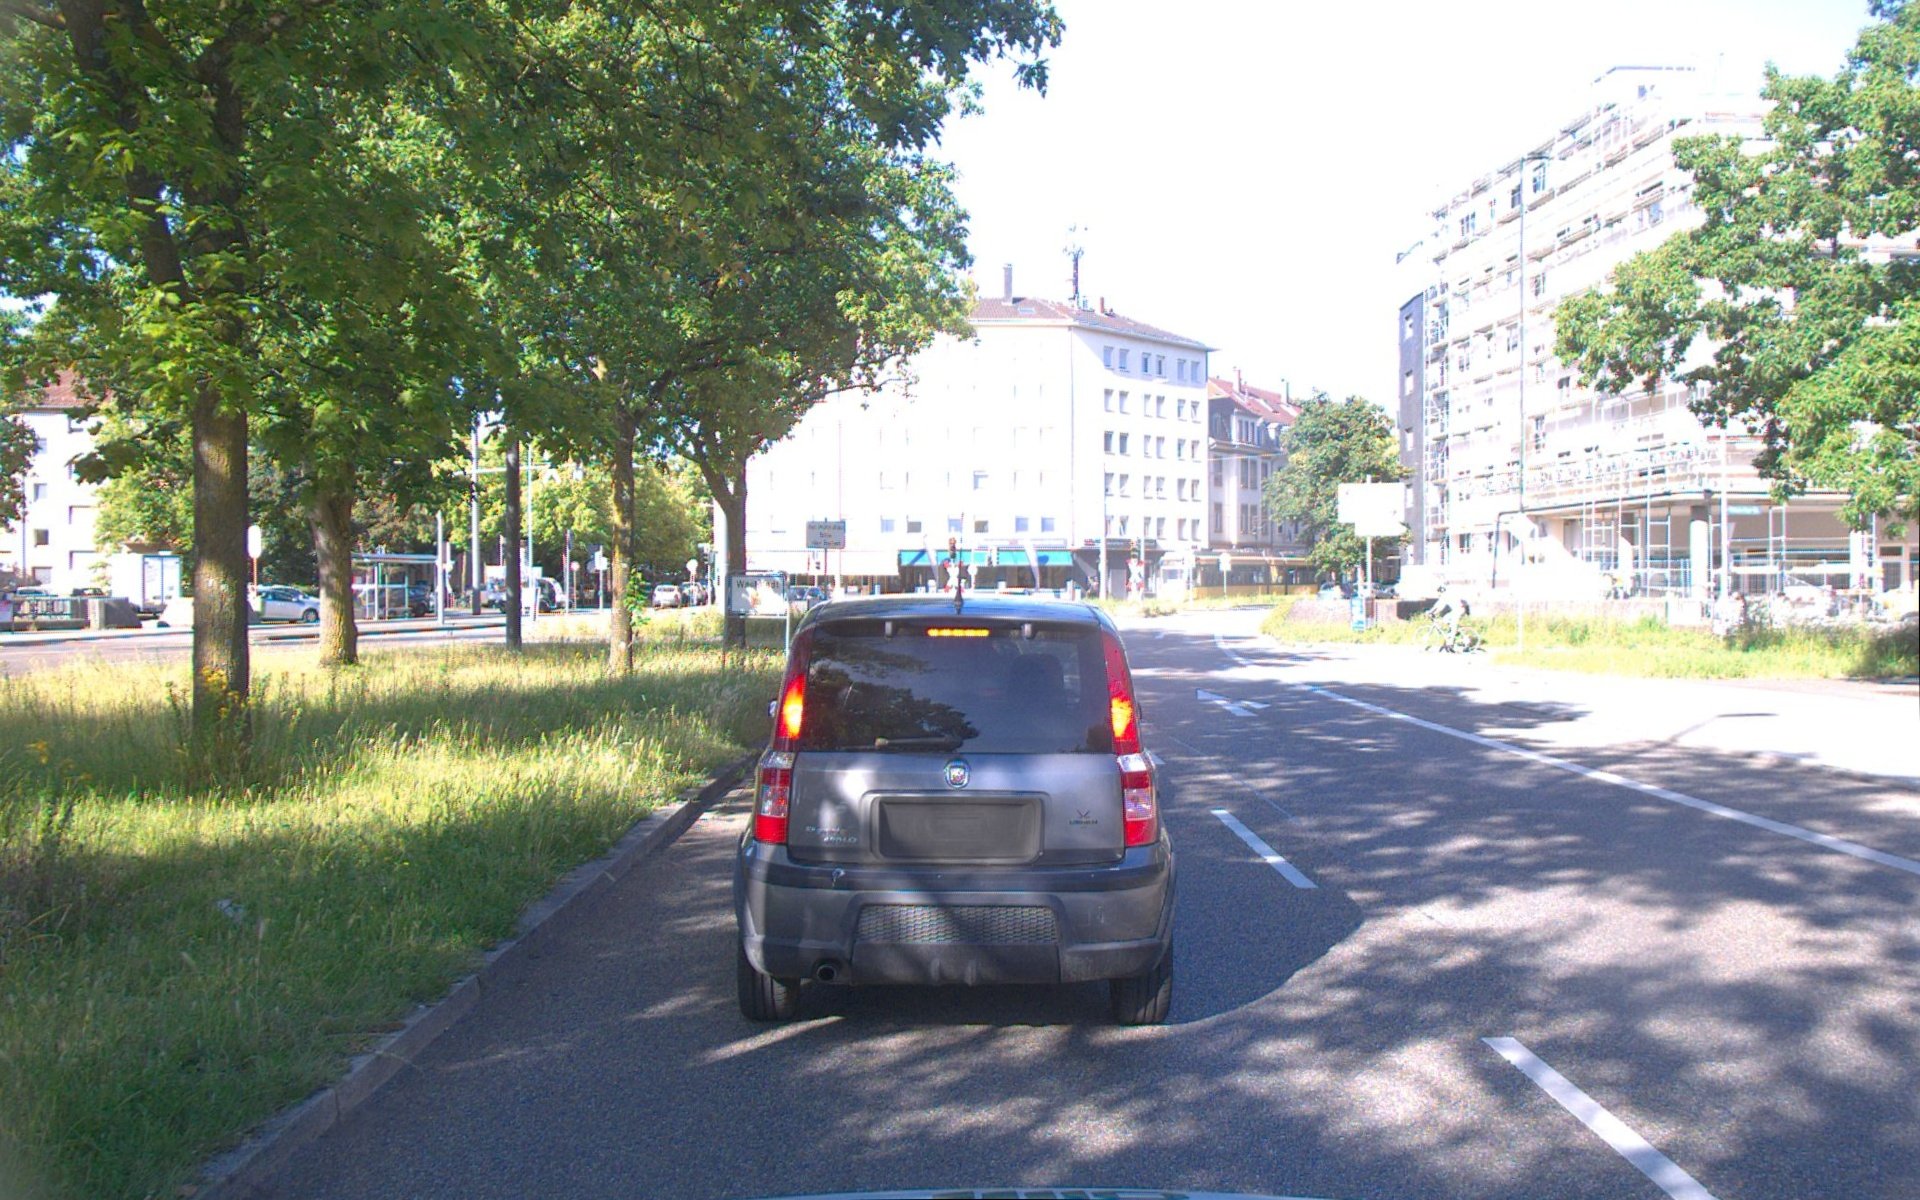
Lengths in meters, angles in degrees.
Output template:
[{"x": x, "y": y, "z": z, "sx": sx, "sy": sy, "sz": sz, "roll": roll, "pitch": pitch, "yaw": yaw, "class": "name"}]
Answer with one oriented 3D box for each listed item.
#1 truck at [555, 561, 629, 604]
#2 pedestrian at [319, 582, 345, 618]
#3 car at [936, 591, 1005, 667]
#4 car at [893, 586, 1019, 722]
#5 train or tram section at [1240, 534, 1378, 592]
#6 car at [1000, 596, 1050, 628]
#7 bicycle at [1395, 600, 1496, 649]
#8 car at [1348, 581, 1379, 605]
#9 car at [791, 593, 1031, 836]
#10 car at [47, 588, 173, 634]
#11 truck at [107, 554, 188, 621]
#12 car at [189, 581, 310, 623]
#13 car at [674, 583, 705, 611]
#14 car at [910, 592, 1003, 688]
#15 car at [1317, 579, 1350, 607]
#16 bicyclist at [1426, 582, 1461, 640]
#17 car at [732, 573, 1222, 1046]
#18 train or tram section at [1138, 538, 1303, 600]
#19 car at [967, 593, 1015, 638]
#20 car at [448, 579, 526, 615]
[{"x": -28.359, "y": -1.357, "z": 127.364, "sx": 5.371, "sy": 3.224, "sz": 2.341, "roll": 0, "pitch": 0, "yaw": 28, "class": "truck"}, {"x": -29.305, "y": -0.004, "z": 77.197, "sx": 0.904, "sy": 1.636, "sz": 0.794, "roll": 0, "pitch": 0, "yaw": 38, "class": "pedestrian"}, {"x": 0.177, "y": 0.555, "z": 33.857, "sx": 1.328, "sy": 1.475, "sz": 3.265, "roll": 0, "pitch": 0, "yaw": -1, "class": "car"}, {"x": -0.073, "y": 0.603, "z": 20.669, "sx": 1.434, "sy": 1.534, "sz": 3.504, "roll": 0, "pitch": 1, "yaw": -1, "class": "car"}, {"x": 25.415, "y": -2.565, "z": 118.808, "sx": 3.235, "sy": 3.836, "sz": 20.765, "roll": 0, "pitch": 1, "yaw": 31, "class": "train or tram section"}, {"x": 2.284, "y": 0.400, "z": 57.699, "sx": 1.118, "sy": 1.083, "sz": 2.723, "roll": 0, "pitch": 1, "yaw": 17, "class": "car"}, {"x": 12.537, "y": 0.624, "z": 42.699, "sx": 2.459, "sy": 1.219, "sz": 0.711, "roll": 1, "pitch": 0, "yaw": 19, "class": "bicycle"}, {"x": 23.009, "y": -0.398, "z": 94.239, "sx": 1.495, "sy": 1.337, "sz": 3.289, "roll": 0, "pitch": 1, "yaw": 17, "class": "car"}, {"x": -0.319, "y": 0.681, "z": 11.625, "sx": 1.434, "sy": 1.425, "sz": 3.393, "roll": 0, "pitch": 1, "yaw": -1, "class": "car"}, {"x": -33.575, "y": 0.415, "z": 65.401, "sx": 1.961, "sy": 1.713, "sz": 3.983, "roll": 0, "pitch": 1, "yaw": 38, "class": "car"}, {"x": -35.744, "y": -0.553, "z": 72.686, "sx": 3.932, "sy": 2.854, "sz": 1.987, "roll": 0, "pitch": 1, "yaw": 44, "class": "truck"}, {"x": -29.955, "y": 0.048, "z": 69.780, "sx": 1.961, "sy": 1.713, "sz": 4.302, "roll": 0, "pitch": 1, "yaw": 38, "class": "car"}, {"x": -20.154, "y": -0.246, "z": 123.281, "sx": 1.954, "sy": 2.049, "sz": 3.996, "roll": 0, "pitch": 1, "yaw": -5, "class": "car"}, {"x": -0.080, "y": 0.609, "z": 27.238, "sx": 1.434, "sy": 1.449, "sz": 3.381, "roll": 0, "pitch": 1, "yaw": -1, "class": "car"}, {"x": 20.504, "y": -0.396, "z": 90.709, "sx": 1.646, "sy": 1.475, "sz": 3.574, "roll": 0, "pitch": 1, "yaw": 15, "class": "car"}, {"x": 12.491, "y": 0.277, "z": 42.720, "sx": 0.825, "sy": 1.463, "sz": 0.744, "roll": 1, "pitch": -1, "yaw": 19, "class": "bicyclist"}, {"x": 0.031, "y": 0.660, "z": 7.409, "sx": 1.595, "sy": 1.534, "sz": 3.999, "roll": 0, "pitch": 1, "yaw": -1, "class": "car"}, {"x": 16.896, "y": -1.919, "z": 104.799, "sx": 3.235, "sy": 3.574, "sz": 19.339, "roll": 0, "pitch": 1, "yaw": 31, "class": "train or tram section"}, {"x": 0.918, "y": 0.442, "z": 49.603, "sx": 1.328, "sy": 1.304, "sz": 2.875, "roll": 0, "pitch": 1, "yaw": -1, "class": "car"}, {"x": -27.934, "y": -0.185, "z": 97.833, "sx": 4.093, "sy": 2.049, "sz": 1.930, "roll": 0, "pitch": 0, "yaw": -3, "class": "car"}]
